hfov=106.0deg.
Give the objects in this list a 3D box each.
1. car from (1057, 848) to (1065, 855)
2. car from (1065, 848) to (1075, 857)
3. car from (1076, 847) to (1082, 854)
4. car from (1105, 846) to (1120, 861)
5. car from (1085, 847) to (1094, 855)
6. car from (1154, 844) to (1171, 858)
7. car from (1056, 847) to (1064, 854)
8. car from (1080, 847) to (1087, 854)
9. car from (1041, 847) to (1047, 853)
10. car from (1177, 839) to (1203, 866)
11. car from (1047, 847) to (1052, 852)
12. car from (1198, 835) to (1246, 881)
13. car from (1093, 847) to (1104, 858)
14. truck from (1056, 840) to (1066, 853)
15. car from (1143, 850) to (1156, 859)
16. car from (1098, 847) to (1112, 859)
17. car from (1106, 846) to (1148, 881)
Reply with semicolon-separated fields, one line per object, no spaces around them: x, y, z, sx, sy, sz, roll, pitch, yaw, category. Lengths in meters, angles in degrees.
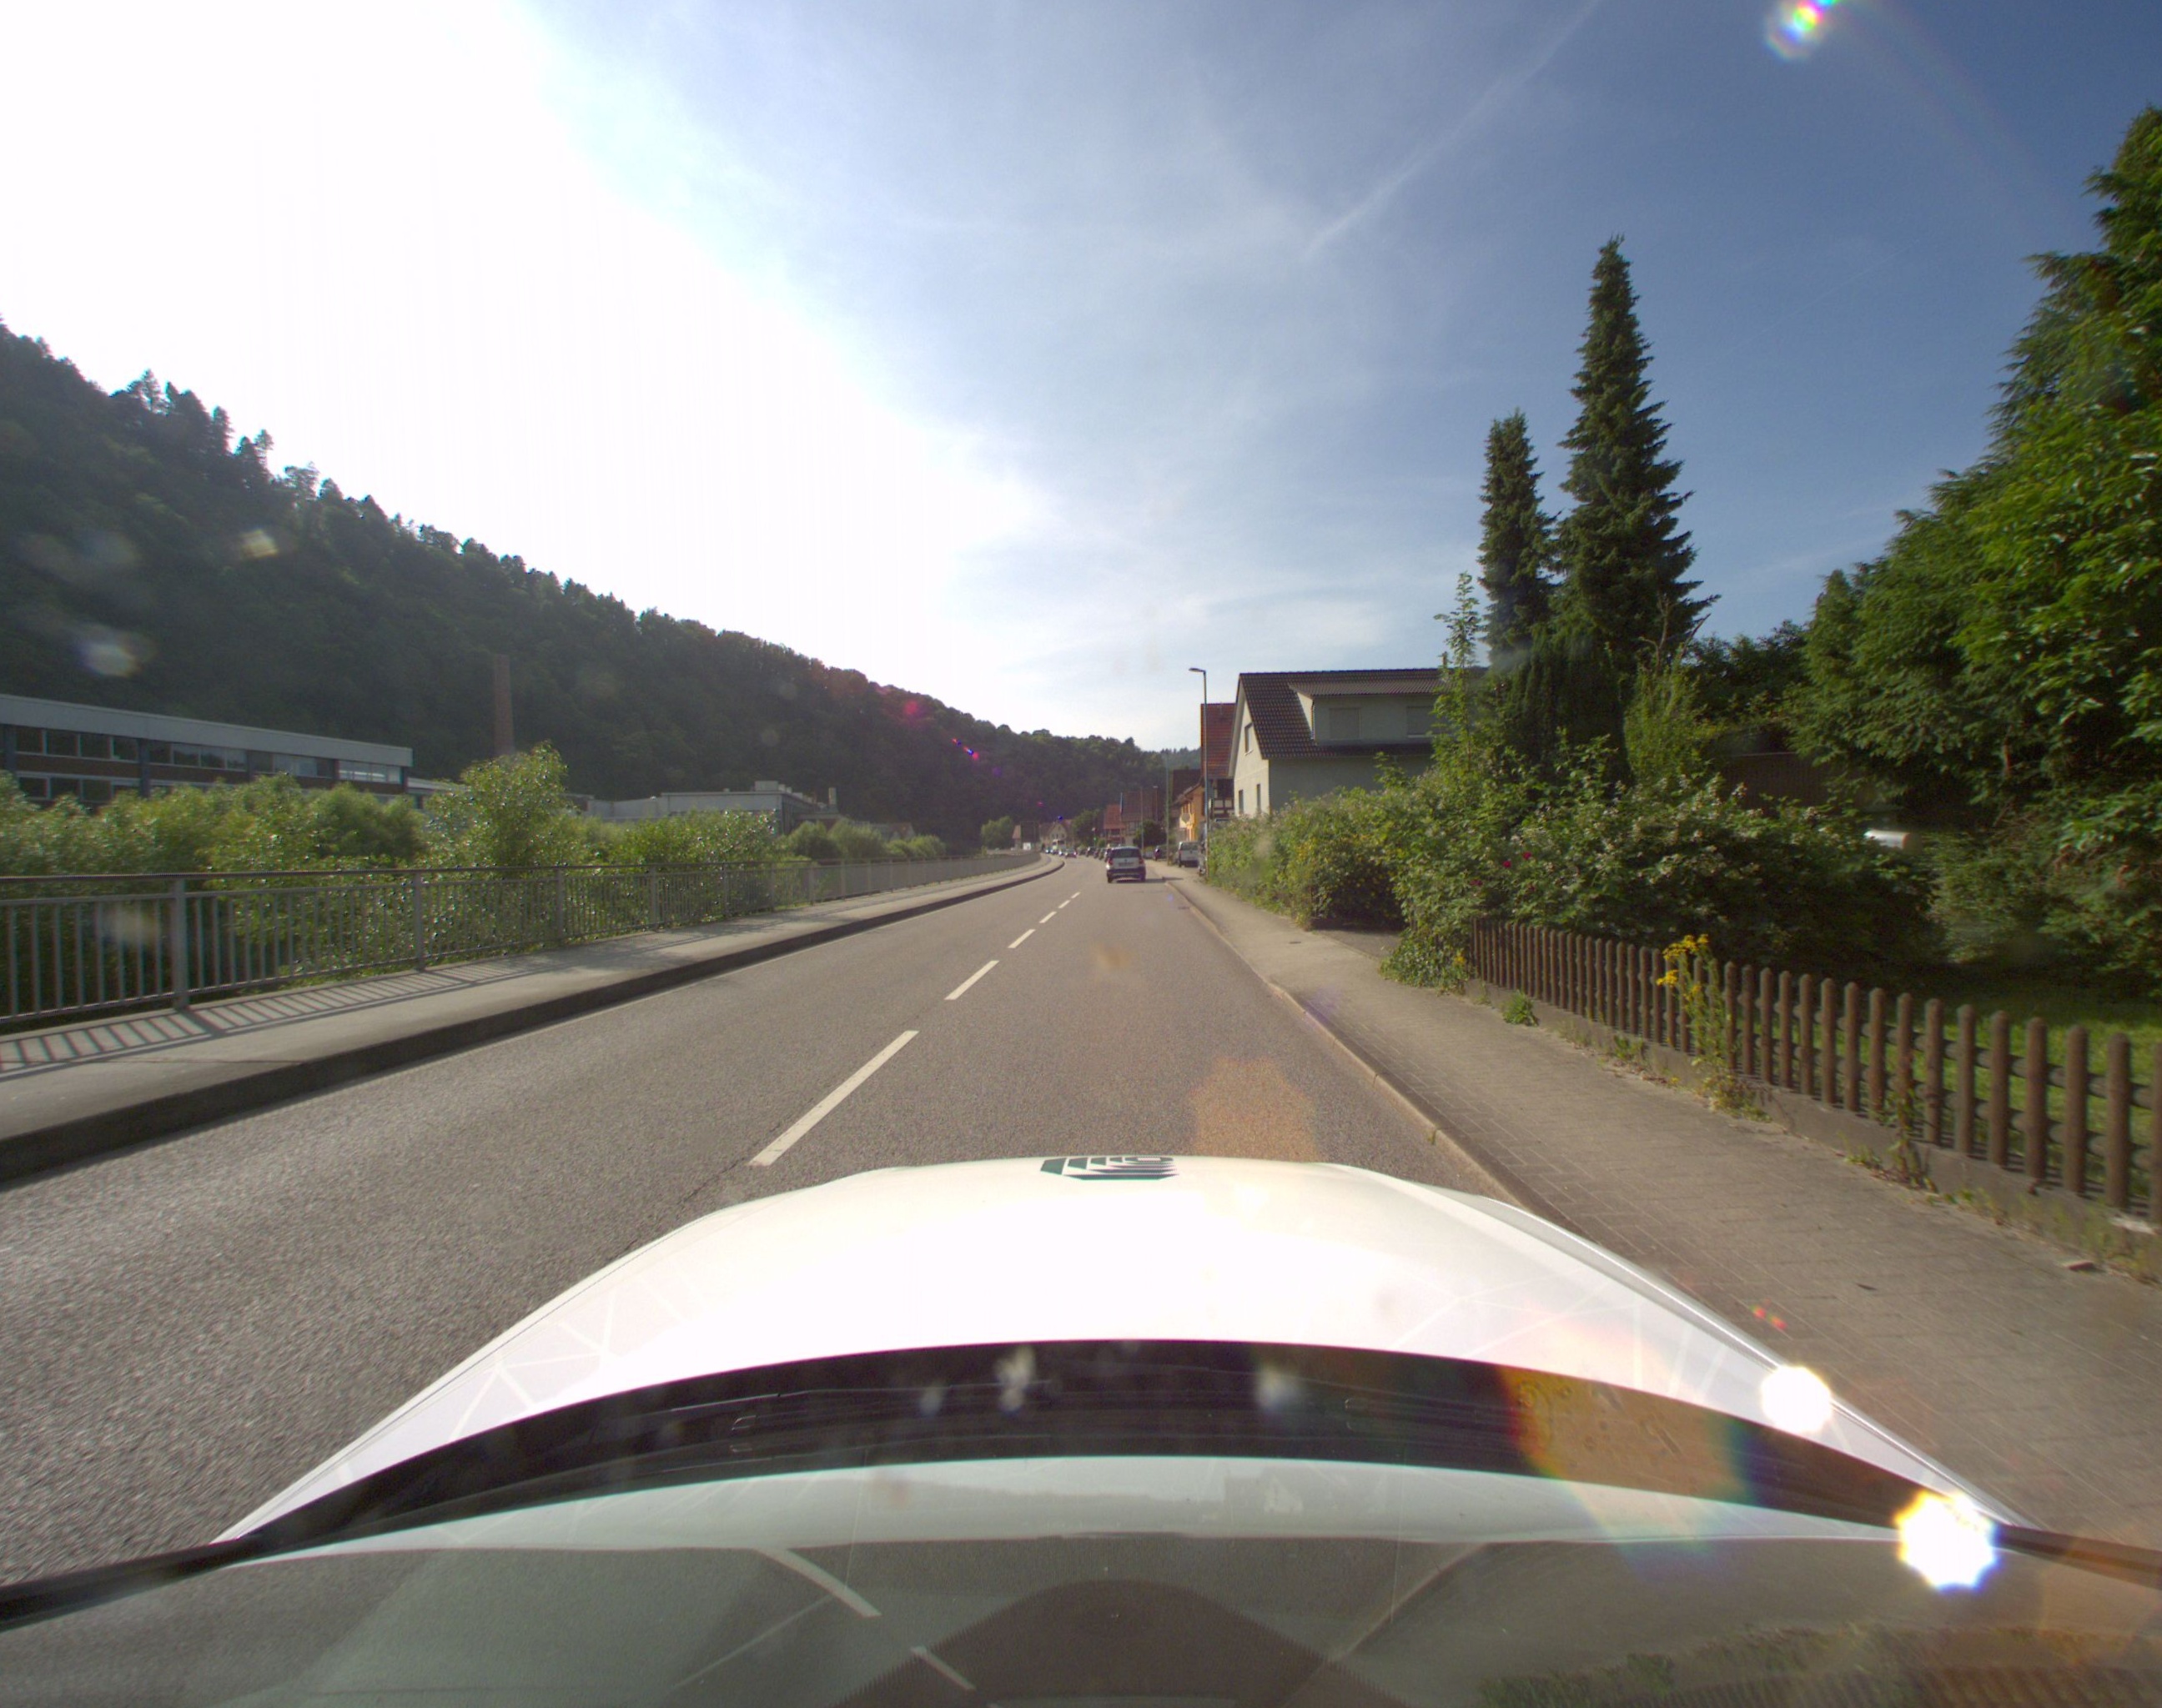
-3.889;-0.412;158.518;1.360;1.278;3.081;-1;-1;-1;car
-1.781;-0.161;130.248;1.575;1.372;3.339;-1;-1;-2;car
-0.486;-0.756;189.079;1.461;1.445;3.618;-1;1;-2;car
3.382;-0.064;87.635;1.616;1.542;3.279;-1;-1;2;car
1.417;-0.516;134.316;1.360;1.278;3.083;-1;-1;0;car
7.846;-0.279;78.708;1.537;1.216;3.282;-1;-1;5;car
-4.927;-0.887;191.848;1.746;1.544;3.994;-1;1;-5;car
0.468;-0.587;155.100;1.360;1.278;3.082;-1;-1;0;car
-11.490;-1.234;253.494;1.989;2.013;3.996;-1;1;-3;car
7.221;-0.075;53.954;1.601;1.646;3.657;-1;-1;7;car
-8.454;-1.126;218.558;1.361;1.278;3.079;-1;-1;-3;car
5.971;0.123;34.857;1.800;1.793;4.009;-1;1;7;car
2.476;-0.162;116.508;1.473;1.460;3.083;-1;-1;1;car
-5.342;-2.061;218.723;2.721;3.374;6.476;-1;1;-1;truck
7.267;0.059;86.614;1.290;0.974;2.925;-1;-1;4;car
2.978;-0.110;101.762;1.604;1.460;3.347;-1;-1;1;car
2.133;0.430;38.478;1.854;1.544;4.375;-1;0;2;car
